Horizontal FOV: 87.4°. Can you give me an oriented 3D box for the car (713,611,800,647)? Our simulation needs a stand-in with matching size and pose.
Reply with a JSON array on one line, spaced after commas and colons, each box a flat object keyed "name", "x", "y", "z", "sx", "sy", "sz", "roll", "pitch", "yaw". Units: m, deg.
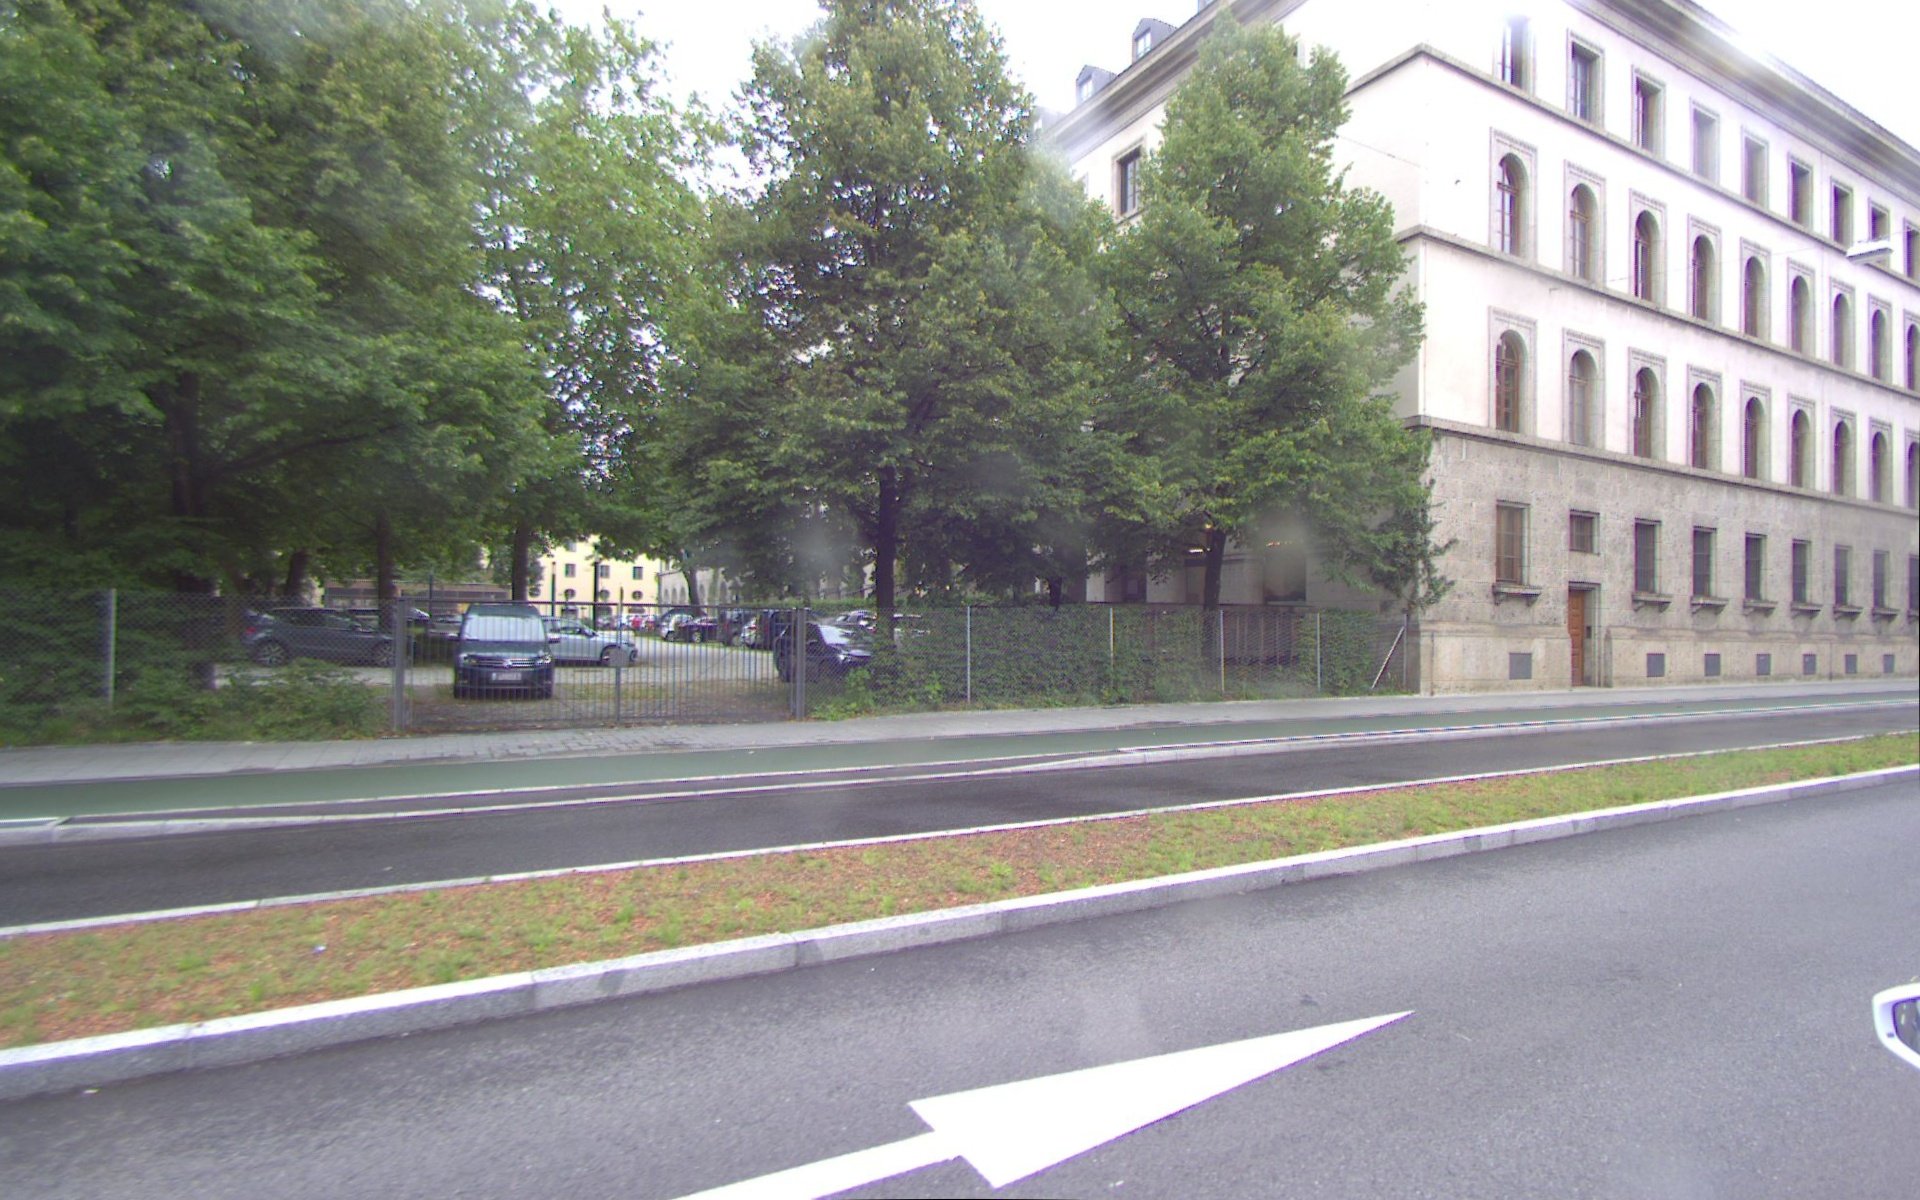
[{"name": "car", "x": -10.301, "y": 1.459, "z": 50.821, "sx": 3.953, "sy": 1.755, "sz": 1.762, "roll": 2, "pitch": -1, "yaw": -30}]

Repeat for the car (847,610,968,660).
[{"name": "car", "x": -1.845, "y": 1.232, "z": 35.513, "sx": 3.952, "sy": 1.661, "sz": 1.657, "roll": 2, "pitch": -1, "yaw": -30}]

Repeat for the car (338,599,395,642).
[{"name": "car", "x": -25.391, "y": 0.885, "z": 42.982, "sx": 1.978, "sy": 1.742, "sz": 3.966, "roll": 1, "pitch": -1, "yaw": -31}]

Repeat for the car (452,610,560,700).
[{"name": "car", "x": -9.041, "y": 1.054, "z": 20.250, "sx": 1.778, "sy": 1.609, "sz": 4.138, "roll": 1, "pitch": -2, "yaw": -22}]

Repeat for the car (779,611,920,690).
[{"name": "car", "x": -2.684, "y": 1.129, "z": 23.511, "sx": 1.783, "sy": 1.671, "sz": 4.244, "roll": 1, "pitch": -2, "yaw": -29}]

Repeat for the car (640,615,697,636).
[{"name": "car", "x": -22.718, "y": 2.017, "z": 78.231, "sx": 3.953, "sy": 1.564, "sz": 1.762, "roll": 2, "pitch": -1, "yaw": -30}]

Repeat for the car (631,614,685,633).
[{"name": "car", "x": -25.024, "y": 1.944, "z": 83.195, "sx": 3.953, "sy": 1.564, "sz": 1.762, "roll": 2, "pitch": -1, "yaw": -30}]

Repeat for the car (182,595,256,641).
[{"name": "car", "x": -29.489, "y": 0.728, "z": 40.104, "sx": 1.978, "sy": 1.742, "sz": 3.966, "roll": 1, "pitch": -1, "yaw": -31}]

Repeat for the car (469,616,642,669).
[{"name": "car", "x": -12.045, "y": 1.257, "z": 29.965, "sx": 4.578, "sy": 1.460, "sz": 1.984, "roll": 2, "pitch": -1, "yaw": -30}]

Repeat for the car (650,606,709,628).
[{"name": "car", "x": -20.870, "y": 1.267, "z": 74.720, "sx": 3.953, "sy": 1.564, "sz": 1.762, "roll": 2, "pitch": -1, "yaw": -30}]

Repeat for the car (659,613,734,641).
[{"name": "car", "x": -15.509, "y": 1.607, "z": 59.096, "sx": 3.953, "sy": 1.564, "sz": 1.762, "roll": 2, "pitch": -1, "yaw": -30}]

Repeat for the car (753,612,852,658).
[{"name": "car", "x": -6.929, "y": 1.524, "z": 44.280, "sx": 3.948, "sy": 1.954, "sz": 1.839, "roll": 1, "pitch": -1, "yaw": -27}]

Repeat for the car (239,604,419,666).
[{"name": "car", "x": -16.871, "y": 0.947, "z": 27.044, "sx": 3.955, "sy": 1.564, "sz": 1.761, "roll": 2, "pitch": -1, "yaw": -31}]

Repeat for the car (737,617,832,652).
[{"name": "car", "x": -8.087, "y": 1.590, "z": 46.342, "sx": 3.953, "sy": 1.564, "sz": 1.762, "roll": 2, "pitch": -1, "yaw": -30}]

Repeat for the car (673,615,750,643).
[{"name": "car", "x": -14.102, "y": 1.654, "z": 57.059, "sx": 3.953, "sy": 1.564, "sz": 1.762, "roll": 2, "pitch": -1, "yaw": -30}]

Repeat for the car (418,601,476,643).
[{"name": "car", "x": -22.825, "y": 0.981, "z": 44.621, "sx": 1.978, "sy": 1.742, "sz": 3.966, "roll": 1, "pitch": -1, "yaw": -31}]
